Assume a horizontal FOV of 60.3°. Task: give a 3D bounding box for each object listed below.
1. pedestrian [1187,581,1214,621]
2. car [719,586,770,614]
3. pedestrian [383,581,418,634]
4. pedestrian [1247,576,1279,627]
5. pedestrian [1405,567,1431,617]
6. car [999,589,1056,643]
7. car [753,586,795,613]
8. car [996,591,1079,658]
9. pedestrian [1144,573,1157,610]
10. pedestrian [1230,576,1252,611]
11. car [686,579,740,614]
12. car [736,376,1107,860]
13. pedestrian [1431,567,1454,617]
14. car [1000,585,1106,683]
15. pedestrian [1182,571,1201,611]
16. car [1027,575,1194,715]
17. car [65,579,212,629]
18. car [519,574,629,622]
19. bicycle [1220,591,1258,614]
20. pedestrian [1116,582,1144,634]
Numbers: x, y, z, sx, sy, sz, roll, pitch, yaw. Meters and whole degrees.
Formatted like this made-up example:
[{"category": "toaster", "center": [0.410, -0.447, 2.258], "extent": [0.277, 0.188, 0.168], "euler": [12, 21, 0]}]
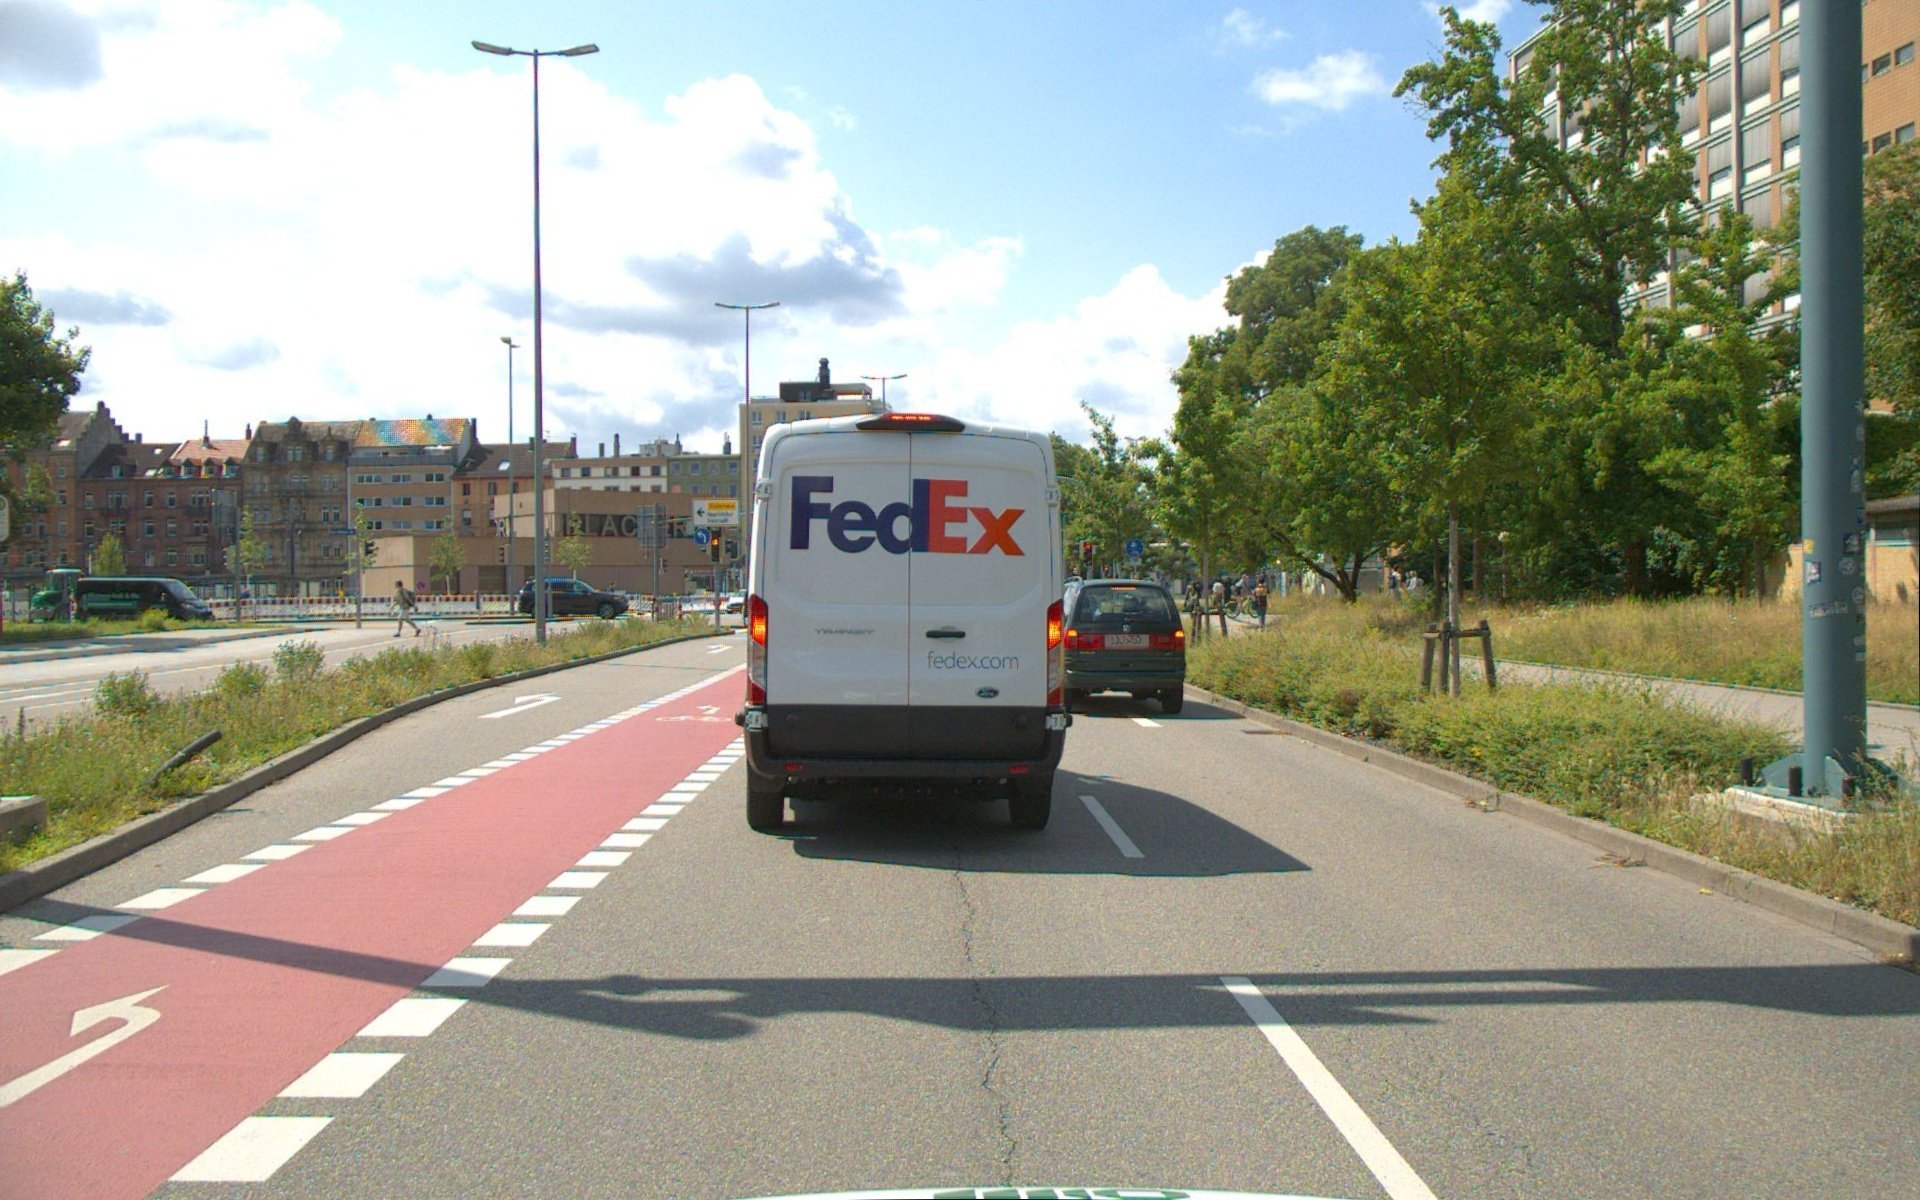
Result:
[{"category": "pedestrian", "center": [8.476, 0.025, 58.286], "extent": [0.828, 1.413, 0.740], "euler": [-1, 0, -3]}, {"category": "car", "center": [-12.994, -0.006, 99.924], "extent": [1.860, 1.613, 4.003], "euler": [-1, 0, 12]}, {"category": "pedestrian", "center": [-16.869, 0.226, 49.883], "extent": [0.867, 1.587, 0.548], "euler": [-1, 0, -38]}, {"category": "pedestrian", "center": [9.386, 0.036, 51.265], "extent": [0.828, 1.565, 0.835], "euler": [-1, 0, -2]}, {"category": "pedestrian", "center": [19.598, -0.344, 70.717], "extent": [0.727, 2.094, 0.843], "euler": [-1, 0, -18]}, {"category": "car", "center": [1.874, 0.416, 46.826], "extent": [1.454, 1.453, 3.432], "euler": [0, 1, 0]}, {"category": "car", "center": [-11.900, -0.010, 106.159], "extent": [1.839, 1.680, 4.003], "euler": [-1, 0, 6]}, {"category": "car", "center": [1.800, 0.535, 39.390], "extent": [1.761, 1.486, 3.838], "euler": [0, 1, 0]}, {"category": "pedestrian", "center": [9.875, -0.451, 85.798], "extent": [0.562, 1.925, 0.679], "euler": [0, 0, -2]}, {"category": "pedestrian", "center": [12.144, -0.299, 71.525], "extent": [0.880, 1.497, 0.486], "euler": [0, 0, 17]}, {"category": "car", "center": [-15.057, -0.198, 101.042], "extent": [1.951, 2.049, 4.003], "euler": [-1, 0, 12]}, {"category": "car", "center": [-0.503, 0.089, 12.180], "extent": [2.099, 2.699, 5.696], "euler": [0, 0, -6]}, {"category": "pedestrian", "center": [20.306, -0.353, 69.588], "extent": [0.828, 2.094, 0.740], "euler": [0, 0, 26]}, {"category": "car", "center": [1.695, 0.578, 31.212], "extent": [1.761, 1.717, 4.000], "euler": [0, 1, 0]}, {"category": "pedestrian", "center": [11.246, -0.423, 80.340], "extent": [0.667, 1.925, 0.572], "euler": [0, 0, 42]}, {"category": "car", "center": [1.996, 0.550, 23.200], "extent": [1.776, 1.764, 4.387], "euler": [0, 1, -2]}, {"category": "car", "center": [-33.224, 0.140, 66.980], "extent": [4.911, 1.911, 1.927], "euler": [-1, 1, -6]}, {"category": "car", "center": [-17.189, -0.081, 73.765], "extent": [4.540, 2.049, 2.097], "euler": [-1, 0, -7]}, {"category": "bicycle", "center": [12.059, 0.100, 71.517], "extent": [1.537, 0.972, 0.486], "euler": [0, 0, 17]}, {"category": "pedestrian", "center": [6.389, 0.285, 62.091], "extent": [0.931, 1.925, 0.773], "euler": [0, 0, -3]}]
